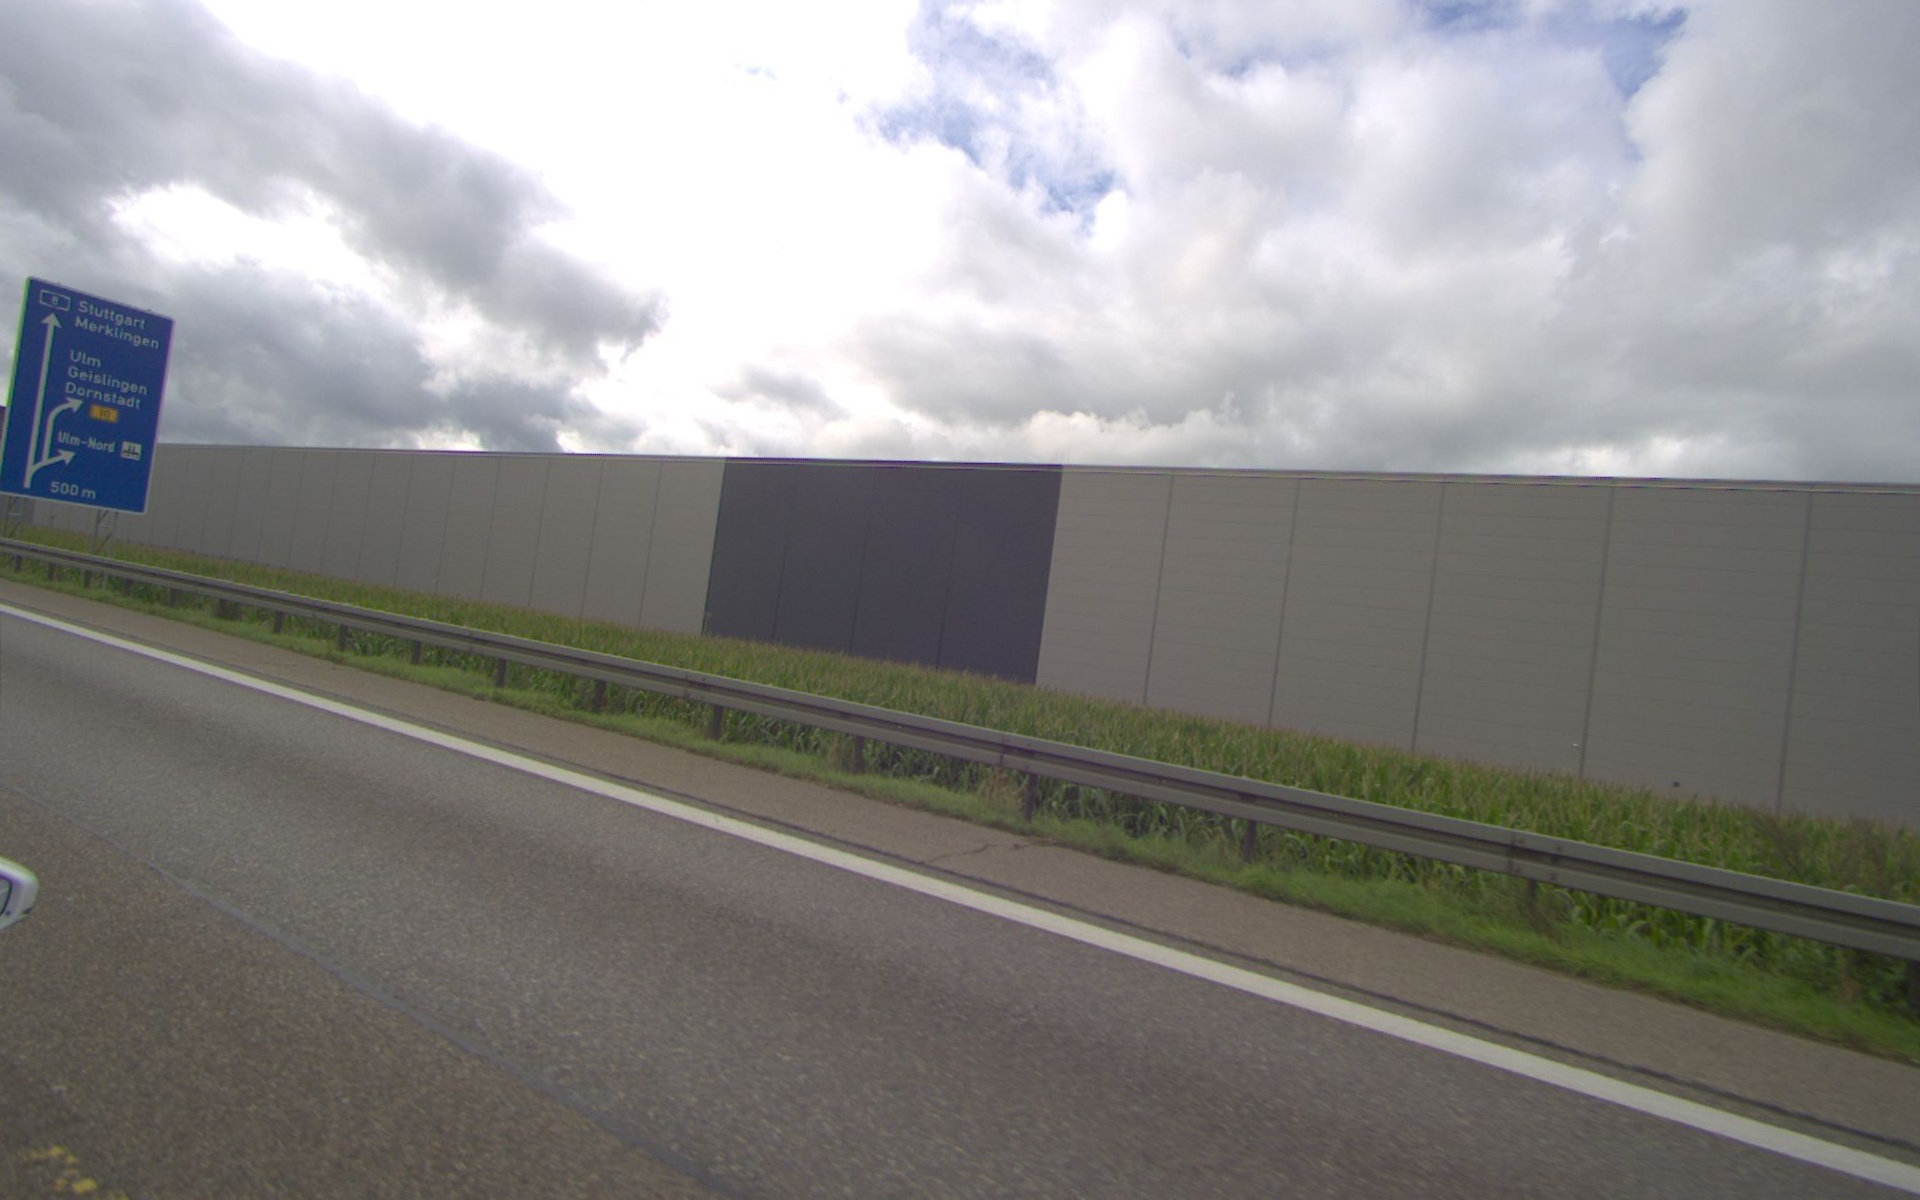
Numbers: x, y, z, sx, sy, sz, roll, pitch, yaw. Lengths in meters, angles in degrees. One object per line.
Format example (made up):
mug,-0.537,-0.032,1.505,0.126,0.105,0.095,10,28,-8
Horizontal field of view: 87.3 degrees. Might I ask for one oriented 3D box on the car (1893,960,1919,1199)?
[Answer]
car,4.198,1.187,1.078,4.288,1.628,1.836,6,-1,32
